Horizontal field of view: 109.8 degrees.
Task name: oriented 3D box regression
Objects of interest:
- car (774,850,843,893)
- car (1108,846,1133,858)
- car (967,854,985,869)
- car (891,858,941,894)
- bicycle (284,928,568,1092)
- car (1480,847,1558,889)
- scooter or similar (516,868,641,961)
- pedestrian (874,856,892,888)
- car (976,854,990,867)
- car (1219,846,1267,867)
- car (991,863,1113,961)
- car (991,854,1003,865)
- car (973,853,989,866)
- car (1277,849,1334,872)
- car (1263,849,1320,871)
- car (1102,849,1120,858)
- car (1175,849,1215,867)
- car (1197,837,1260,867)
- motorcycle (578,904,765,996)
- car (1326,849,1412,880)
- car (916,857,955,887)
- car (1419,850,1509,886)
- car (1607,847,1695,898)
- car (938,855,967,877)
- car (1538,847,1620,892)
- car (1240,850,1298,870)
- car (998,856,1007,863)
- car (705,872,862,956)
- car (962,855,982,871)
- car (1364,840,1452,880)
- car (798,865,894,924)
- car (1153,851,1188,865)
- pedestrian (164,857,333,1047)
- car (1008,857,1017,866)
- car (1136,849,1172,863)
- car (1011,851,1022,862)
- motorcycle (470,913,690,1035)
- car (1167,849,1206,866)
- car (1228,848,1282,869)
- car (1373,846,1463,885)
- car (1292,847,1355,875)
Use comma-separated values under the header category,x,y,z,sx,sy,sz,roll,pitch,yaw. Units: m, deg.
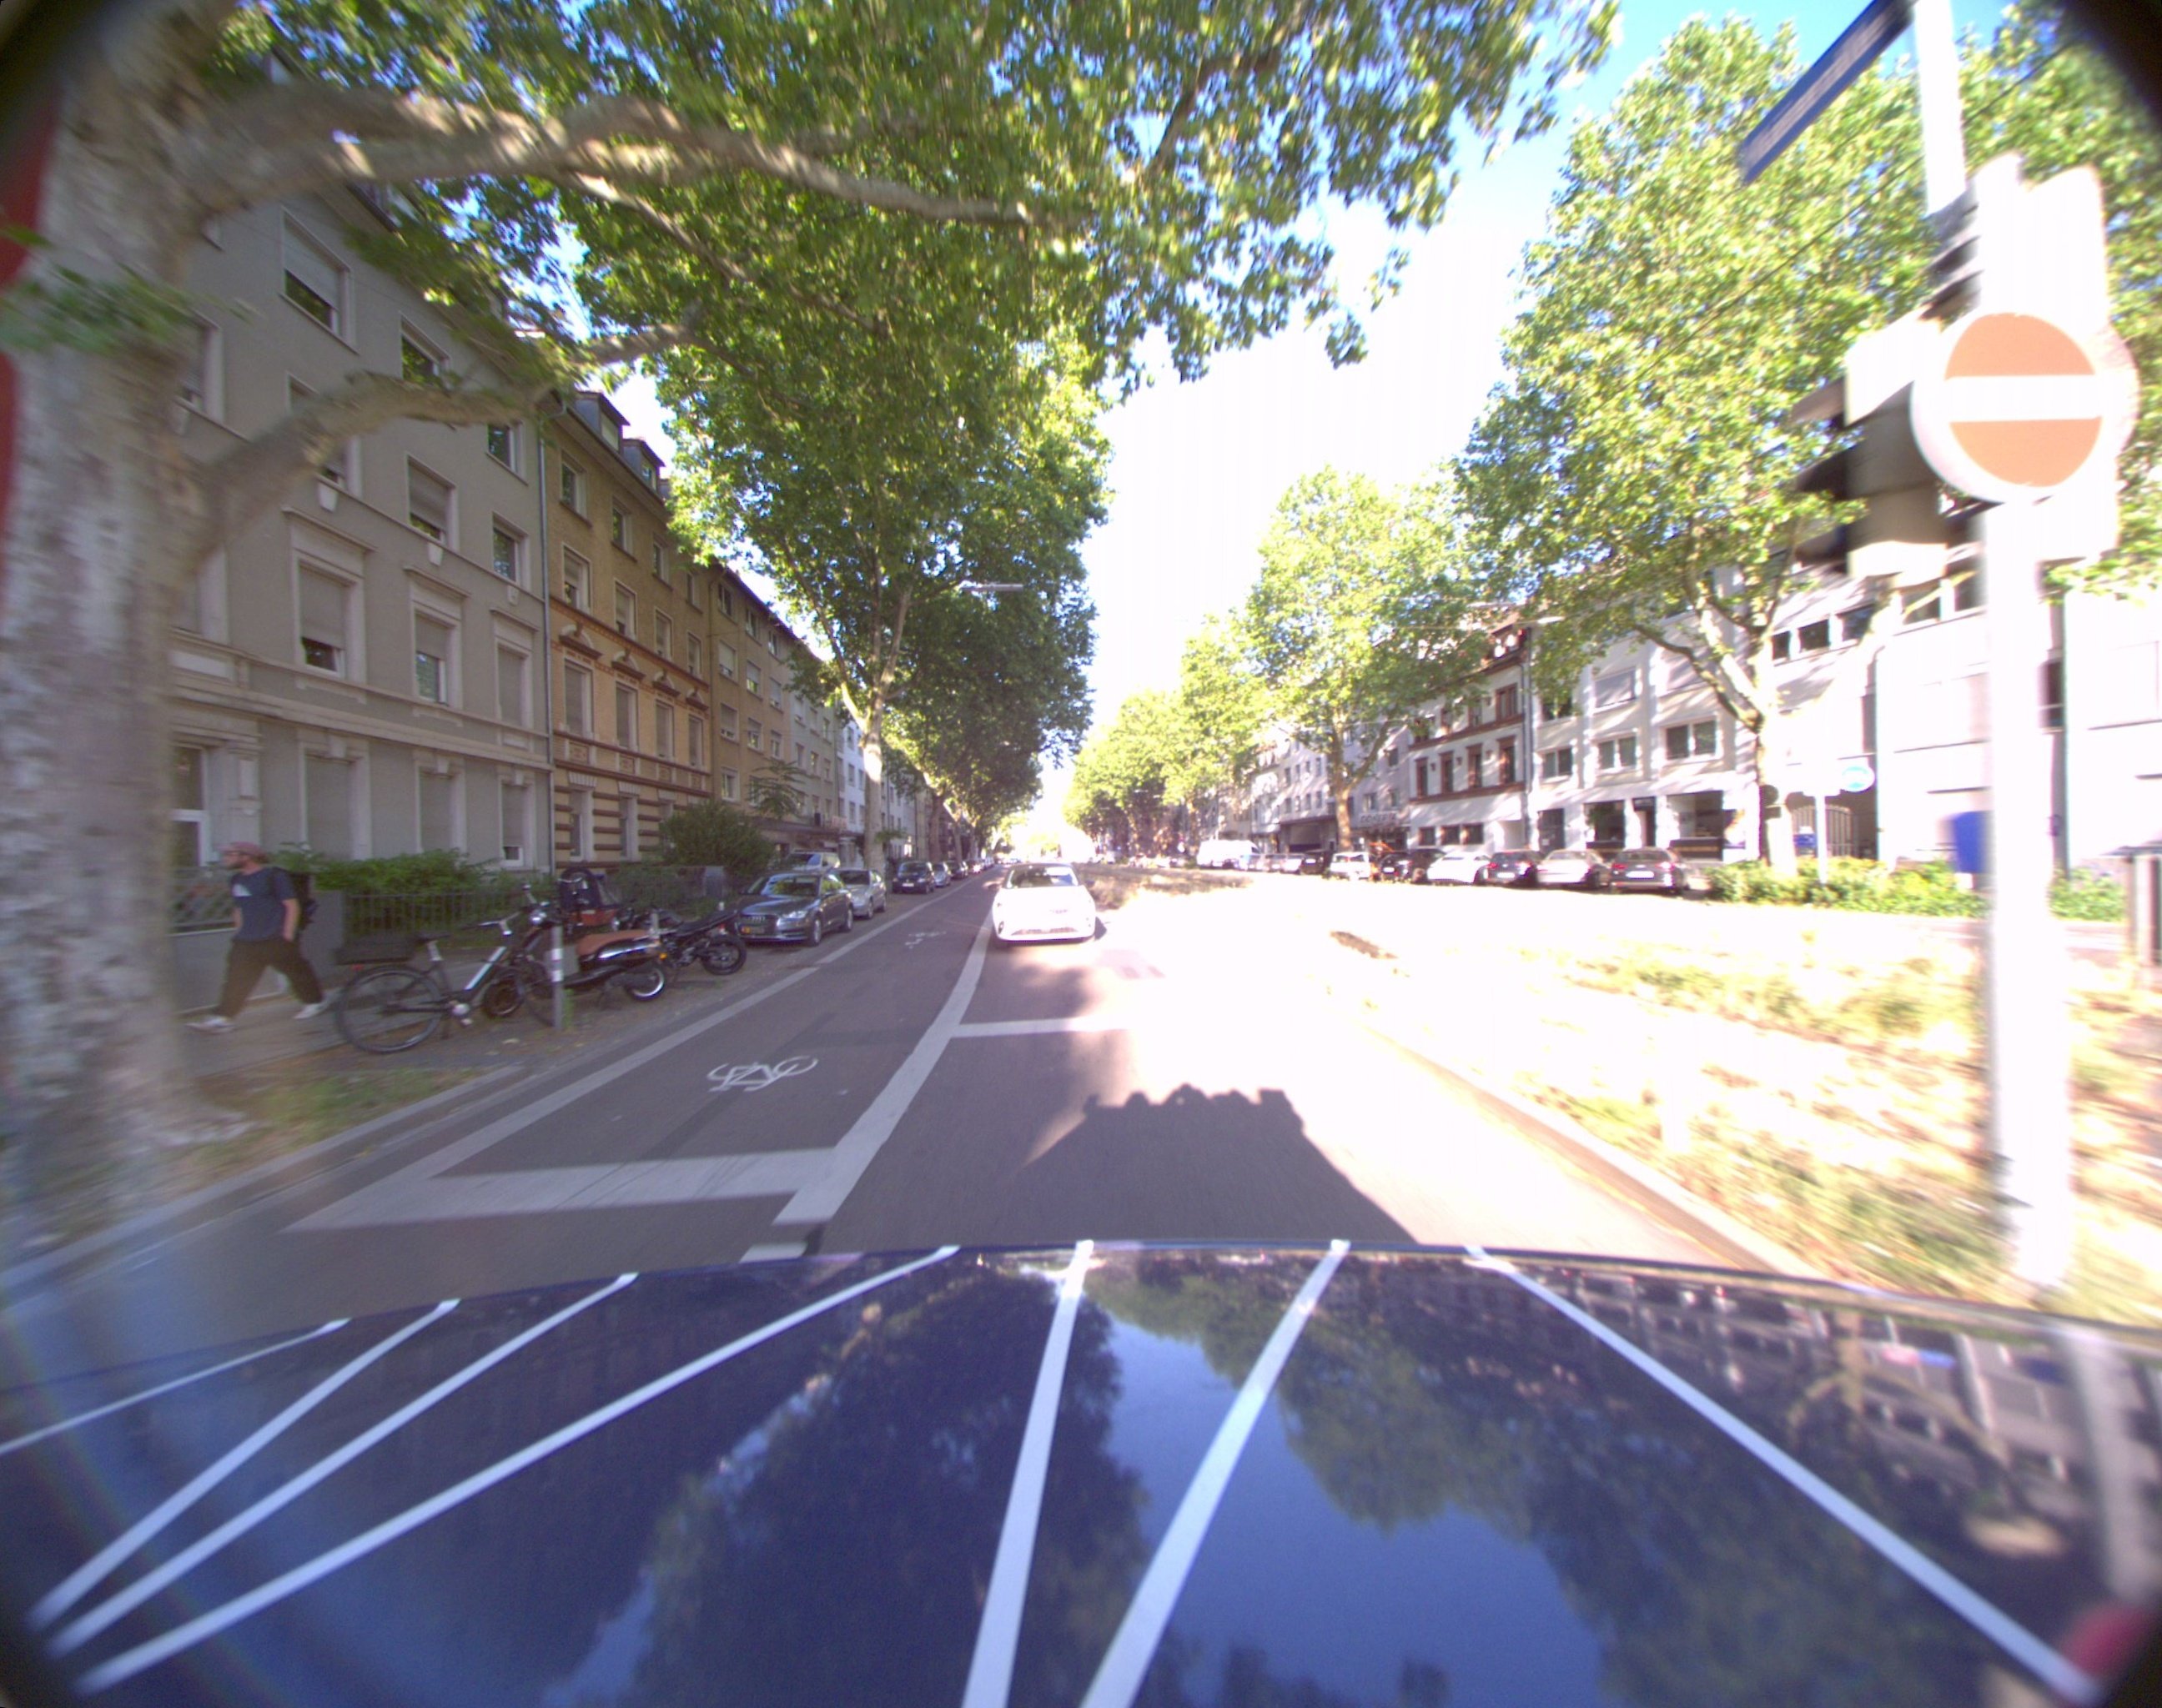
category,x,y,z,sx,sy,sz,roll,pitch,yaw
car,-12.833,0.780,36.100,1.934,1.864,4.675,1,0,-5
car,7.494,-0.408,143.696,2.096,2.200,4.952,-1,1,43
car,-11.899,0.856,85.907,1.803,1.599,4.103,1,0,-5
car,-7.899,1.012,36.776,1.803,1.599,4.368,1,0,-5
bicycle,-5.669,1.279,6.729,0.620,1.104,1.804,0,-1,23
car,17.443,0.508,30.170,1.827,1.495,3.979,-1,1,43
scooter or similar,-8.938,1.008,13.668,0.666,1.461,2.543,-1,0,-4
pedestrian,-9.909,0.881,38.041,0.728,1.571,0.701,-1,1,-4
car,-13.497,0.910,104.572,1.803,1.742,4.103,1,0,-5
car,14.683,0.247,68.916,4.006,1.805,1.995,-1,1,-31
car,-0.621,0.932,13.871,1.866,1.394,3.930,-3,0,-5
car,-13.524,0.888,121.879,1.803,1.598,3.700,1,0,-5
car,-12.930,0.644,98.377,1.803,1.599,4.103,1,0,-5
car,15.336,0.446,51.755,4.266,1.451,1.598,-1,1,-40
car,15.302,0.415,55.038,4.266,1.449,1.902,-1,0,-40
car,6.614,-0.147,167.184,3.995,1.802,1.874,-1,1,5
car,12.566,0.421,83.698,4.006,1.805,1.995,-1,1,-31
car,13.913,-0.218,71.602,5.621,2.684,2.175,-1,1,-29
motorcycle,-5.635,1.283,10.558,2.217,1.104,0.662,1,-1,-31
car,15.412,0.549,40.690,4.261,1.548,1.640,-1,1,-20
car,-8.452,1.034,44.354,1.803,1.599,4.368,1,0,-5
car,16.403,0.567,32.455,4.266,1.369,2.147,-2,0,-45
car,17.780,0.527,23.636,1.767,1.423,3.979,-1,1,43
car,-9.659,0.876,57.549,1.803,1.494,4.368,1,0,-5
car,17.586,0.531,26.758,1.738,1.424,3.979,-3,-1,43
car,14.632,0.456,59.192,4.005,1.509,1.996,-1,0,-25
car,-23.433,1.568,226.543,1.998,1.850,3.999,-3,1,1
car,-5.969,1.132,15.841,1.803,1.393,4.368,1,0,-4
car,-11.146,0.913,78.108,1.803,1.599,4.103,1,0,-5
car,16.915,0.298,39.304,4.261,1.932,1.514,-1,1,-20
car,-6.657,1.091,21.968,1.803,1.446,4.509,1,0,-6
car,11.218,0.470,95.403,4.006,1.696,1.995,-1,1,-31
pedestrian,-7.922,0.897,7.274,0.728,1.701,0.815,1,1,-4
car,-15.831,1.695,175.849,1.999,2.002,3.998,-3,1,-4
car,9.309,0.277,97.423,4.236,1.696,1.998,-1,0,-8
car,-13.228,0.538,156.186,1.999,2.002,3.998,-3,1,-4
motorcycle,-5.496,1.255,8.431,0.783,1.104,1.895,-1,-2,43
car,12.121,0.421,86.943,4.006,1.805,1.995,-1,1,-31
car,14.286,0.349,62.300,4.006,1.608,1.995,-1,0,-31
car,15.895,0.487,35.799,4.265,1.674,2.147,-1,1,-39
car,15.415,0.429,48.128,4.266,1.605,1.902,-2,1,-43
